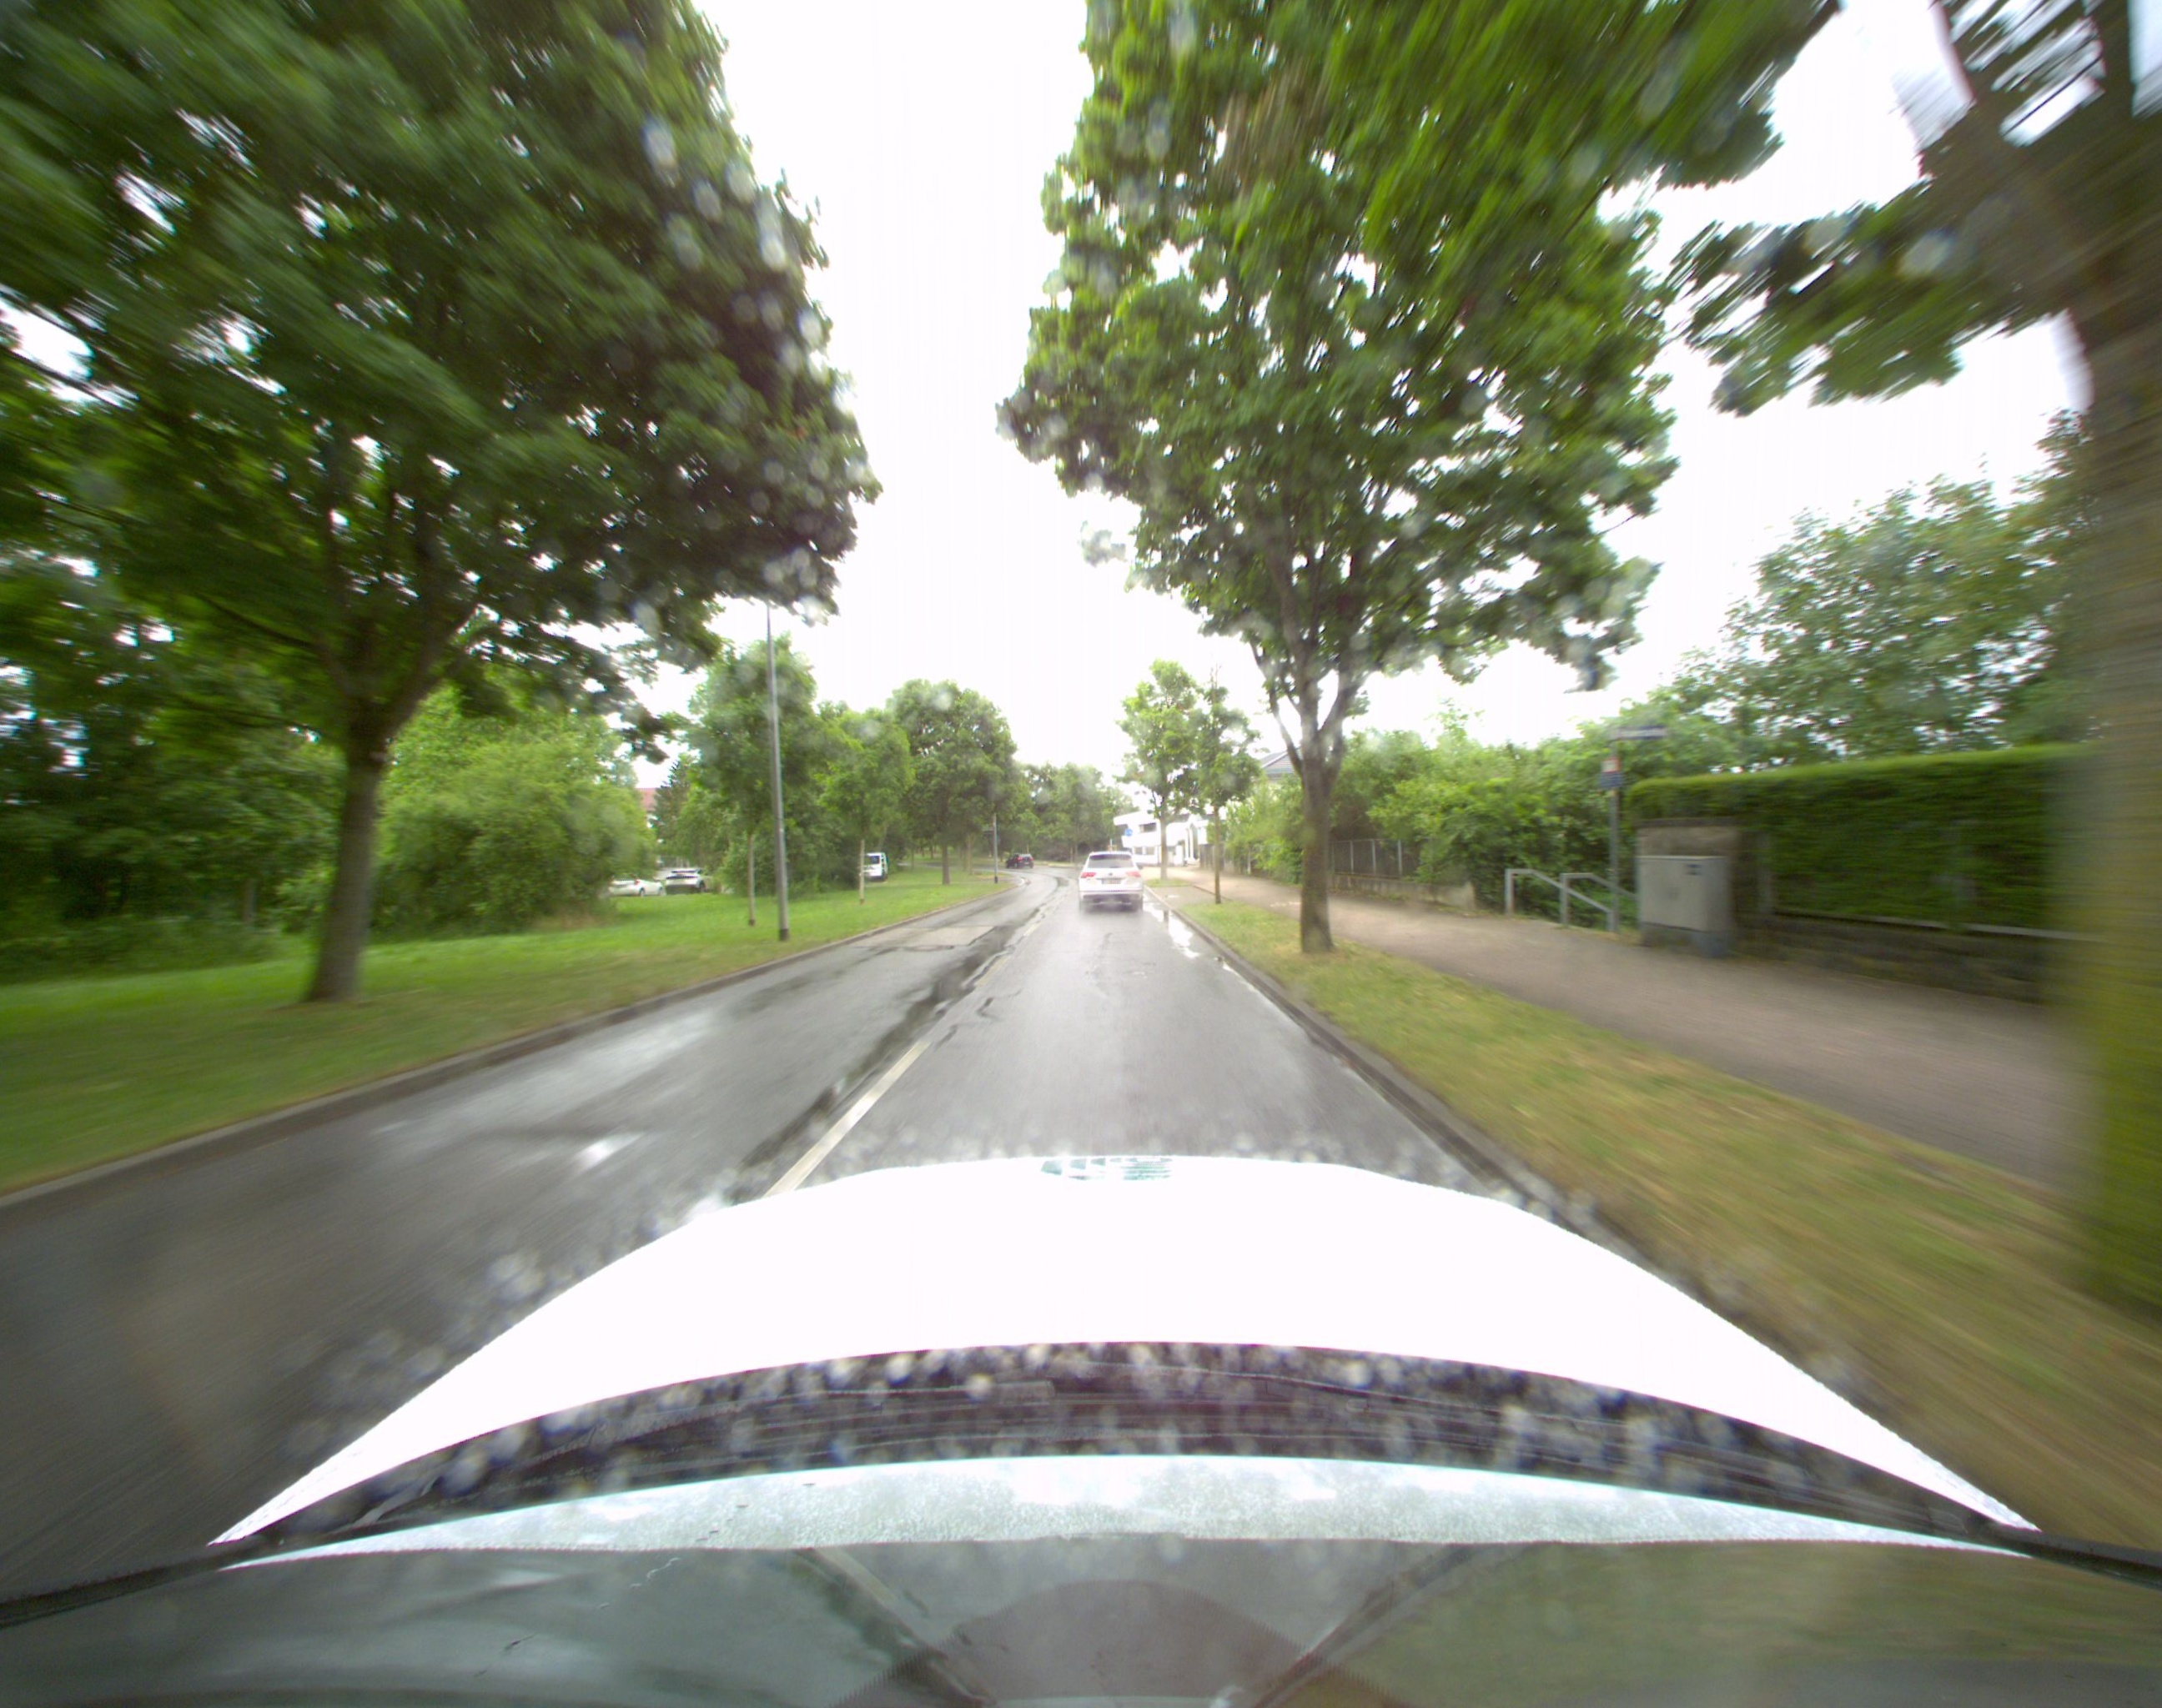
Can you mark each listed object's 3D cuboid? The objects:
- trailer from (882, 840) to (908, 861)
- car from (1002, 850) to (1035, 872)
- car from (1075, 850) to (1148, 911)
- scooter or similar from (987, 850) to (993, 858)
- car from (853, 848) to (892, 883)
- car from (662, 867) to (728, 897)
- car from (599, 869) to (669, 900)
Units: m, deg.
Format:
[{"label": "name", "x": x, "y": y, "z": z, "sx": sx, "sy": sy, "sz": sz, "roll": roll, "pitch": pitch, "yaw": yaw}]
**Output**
[{"label": "trailer", "x": -27.210, "y": -0.545, "z": 118.759, "sx": 2.006, "sy": 2.807, "sz": 5.556, "roll": -7, "pitch": 4, "yaw": -28}, {"label": "car", "x": -6.049, "y": 0.656, "z": 78.665, "sx": 1.910, "sy": 2.014, "sz": 3.911, "roll": 1, "pitch": 0, "yaw": -25}, {"label": "car", "x": 0.910, "y": 0.708, "z": 24.238, "sx": 1.966, "sy": 1.653, "sz": 4.179, "roll": 0, "pitch": 0, "yaw": 2}, {"label": "scooter or similar", "x": -12.779, "y": 0.014, "z": 114.179, "sx": 0.465, "sy": 1.146, "sz": 1.290, "roll": -3, "pitch": 2, "yaw": -25}, {"label": "car", "x": -14.710, "y": 0.747, "z": 57.757, "sx": 2.127, "sy": 1.985, "sz": 5.458, "roll": -3, "pitch": 3, "yaw": -9}, {"label": "car", "x": -21.760, "y": 1.559, "z": 46.126, "sx": 1.788, "sy": 1.537, "sz": 4.992, "roll": -2, "pitch": -1, "yaw": -6}, {"label": "car", "x": -25.181, "y": 1.678, "z": 46.069, "sx": 1.850, "sy": 1.581, "sz": 4.344, "roll": -2, "pitch": -1, "yaw": -5}]
